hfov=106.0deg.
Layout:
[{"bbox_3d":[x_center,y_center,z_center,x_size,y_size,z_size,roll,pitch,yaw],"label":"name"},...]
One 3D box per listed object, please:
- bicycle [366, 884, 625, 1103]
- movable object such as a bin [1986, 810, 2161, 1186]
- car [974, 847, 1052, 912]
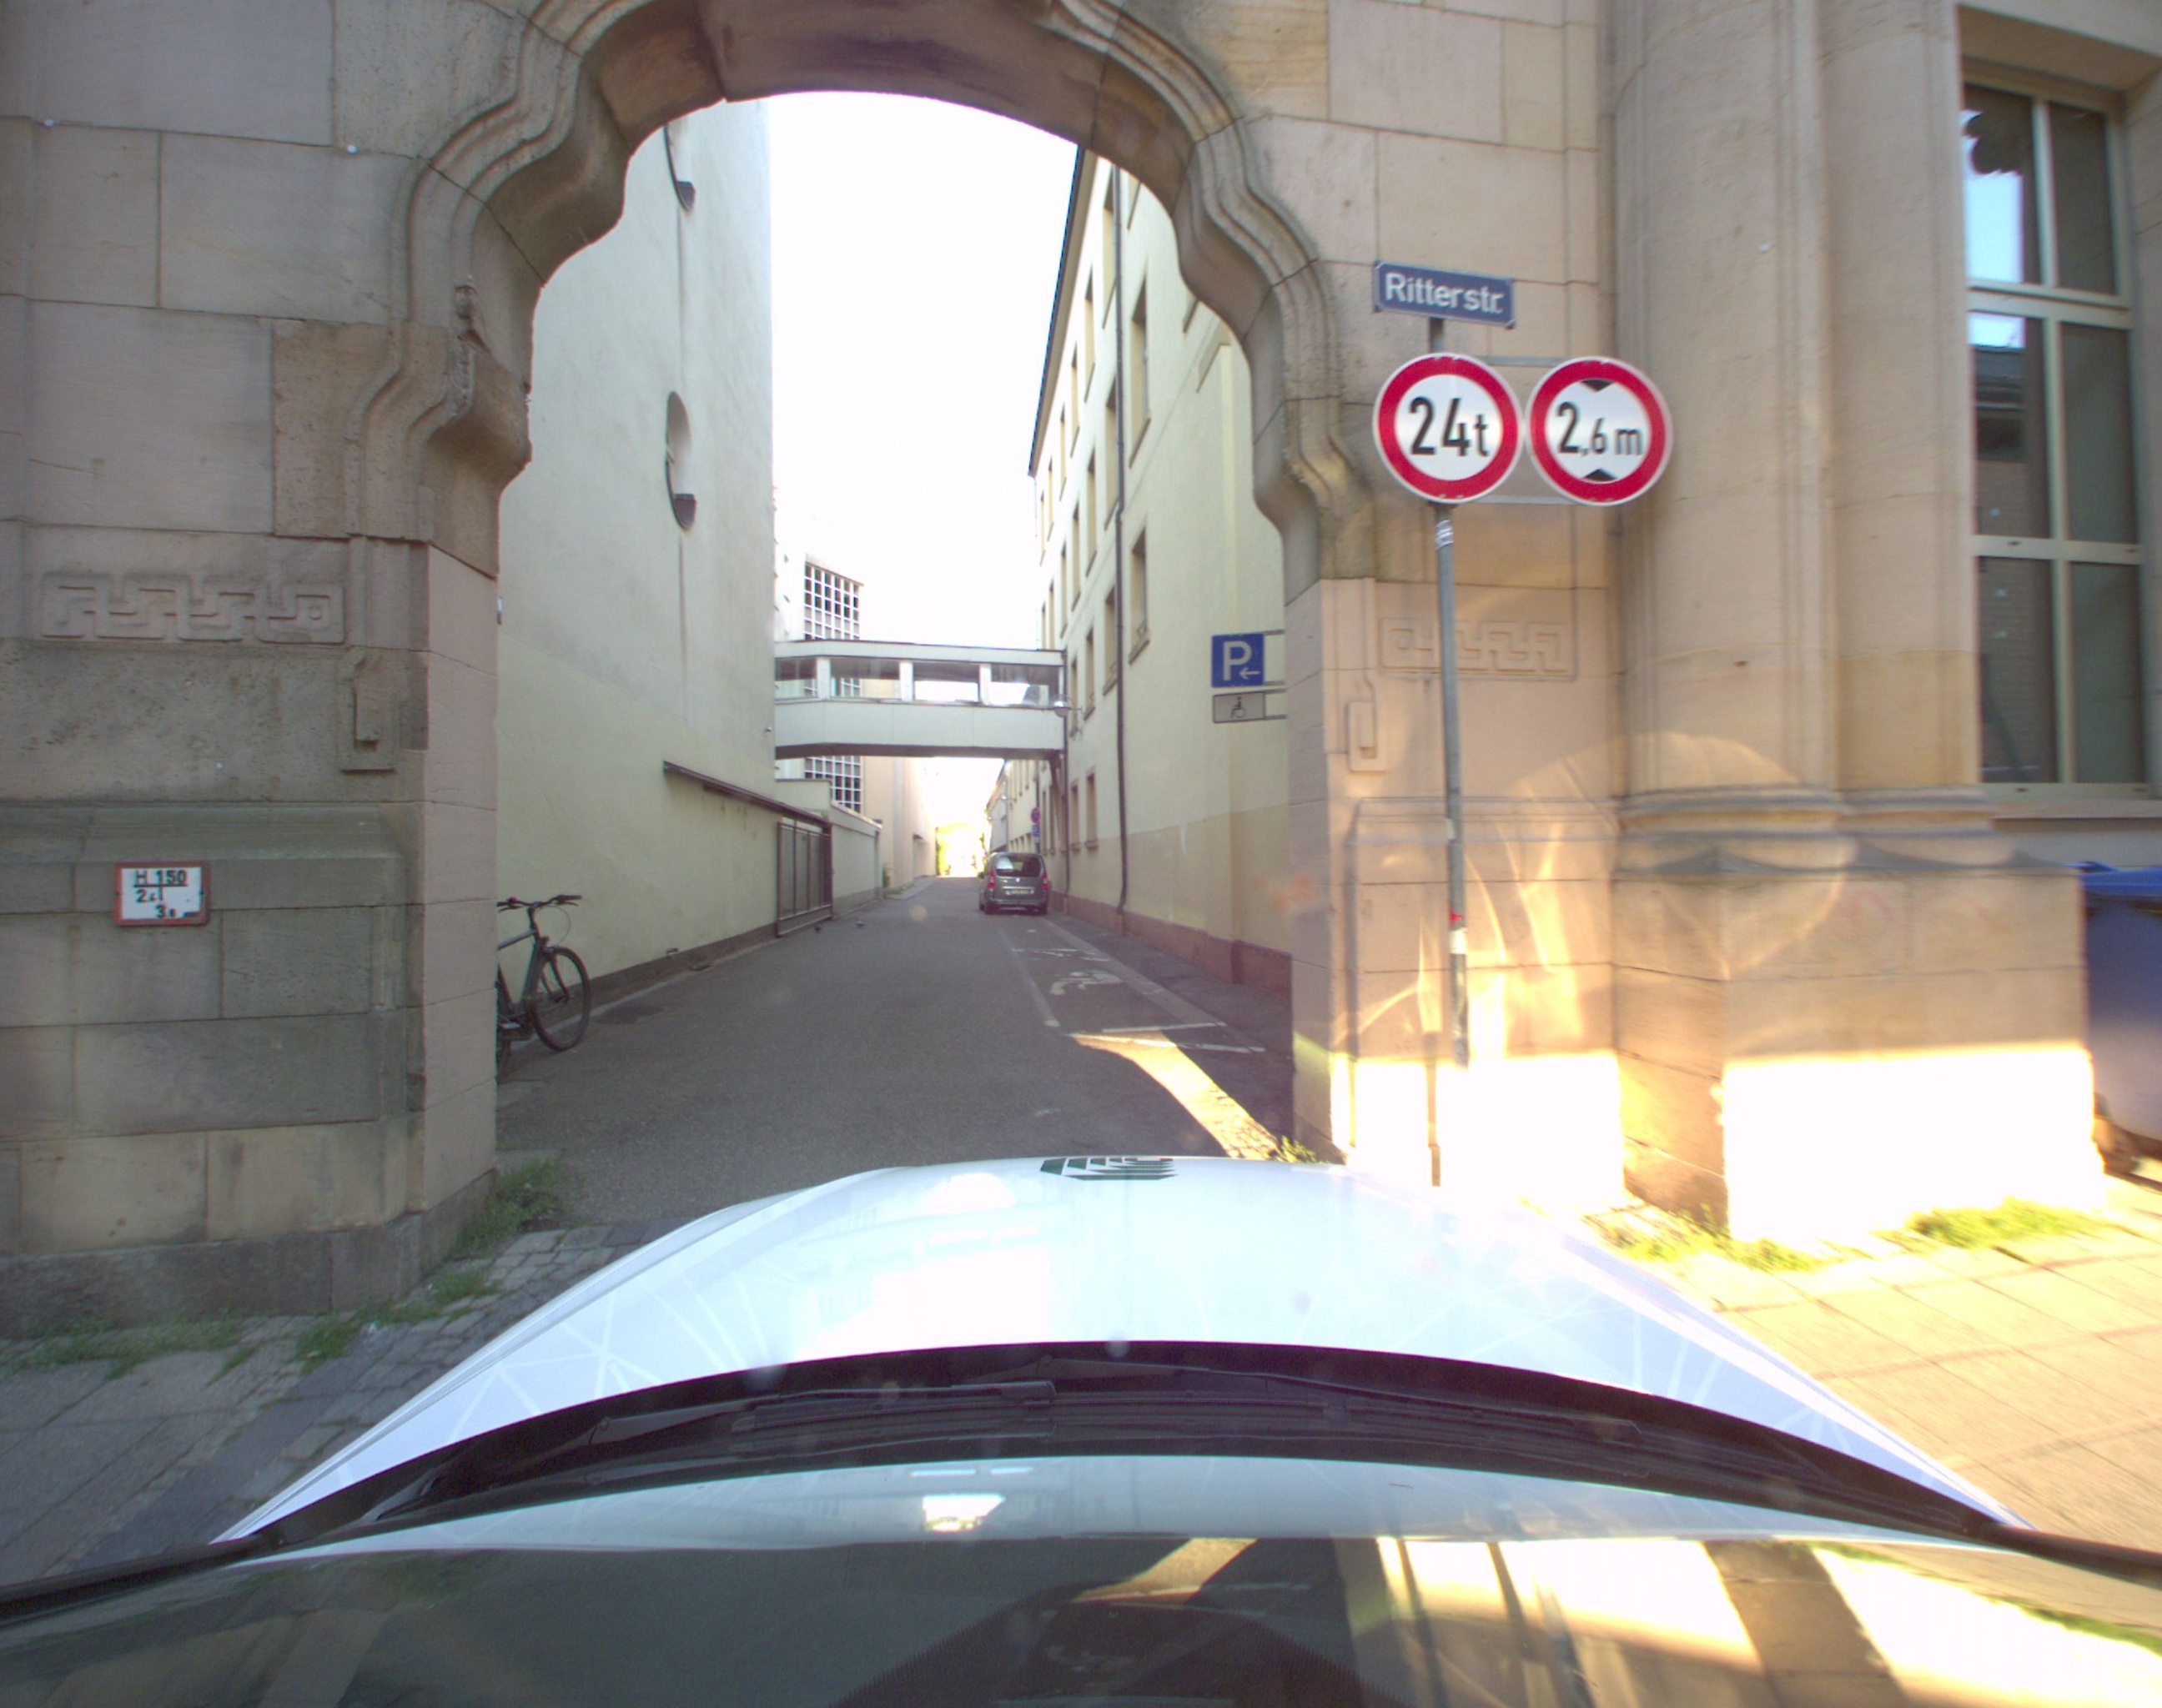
[{"bbox_3d":[-3.582,0.764,5.182,0.595,1.079,1.750,-1,0,-9],"label":"bicycle"},{"bbox_3d":[4.810,0.555,3.273,1.181,1.474,1.076,-1,1,-5],"label":"movable object such as a bin"},{"bbox_3d":[-2.146,0.782,24.799,1.856,1.756,4.145,2,-2,-11],"label":"car"}]
